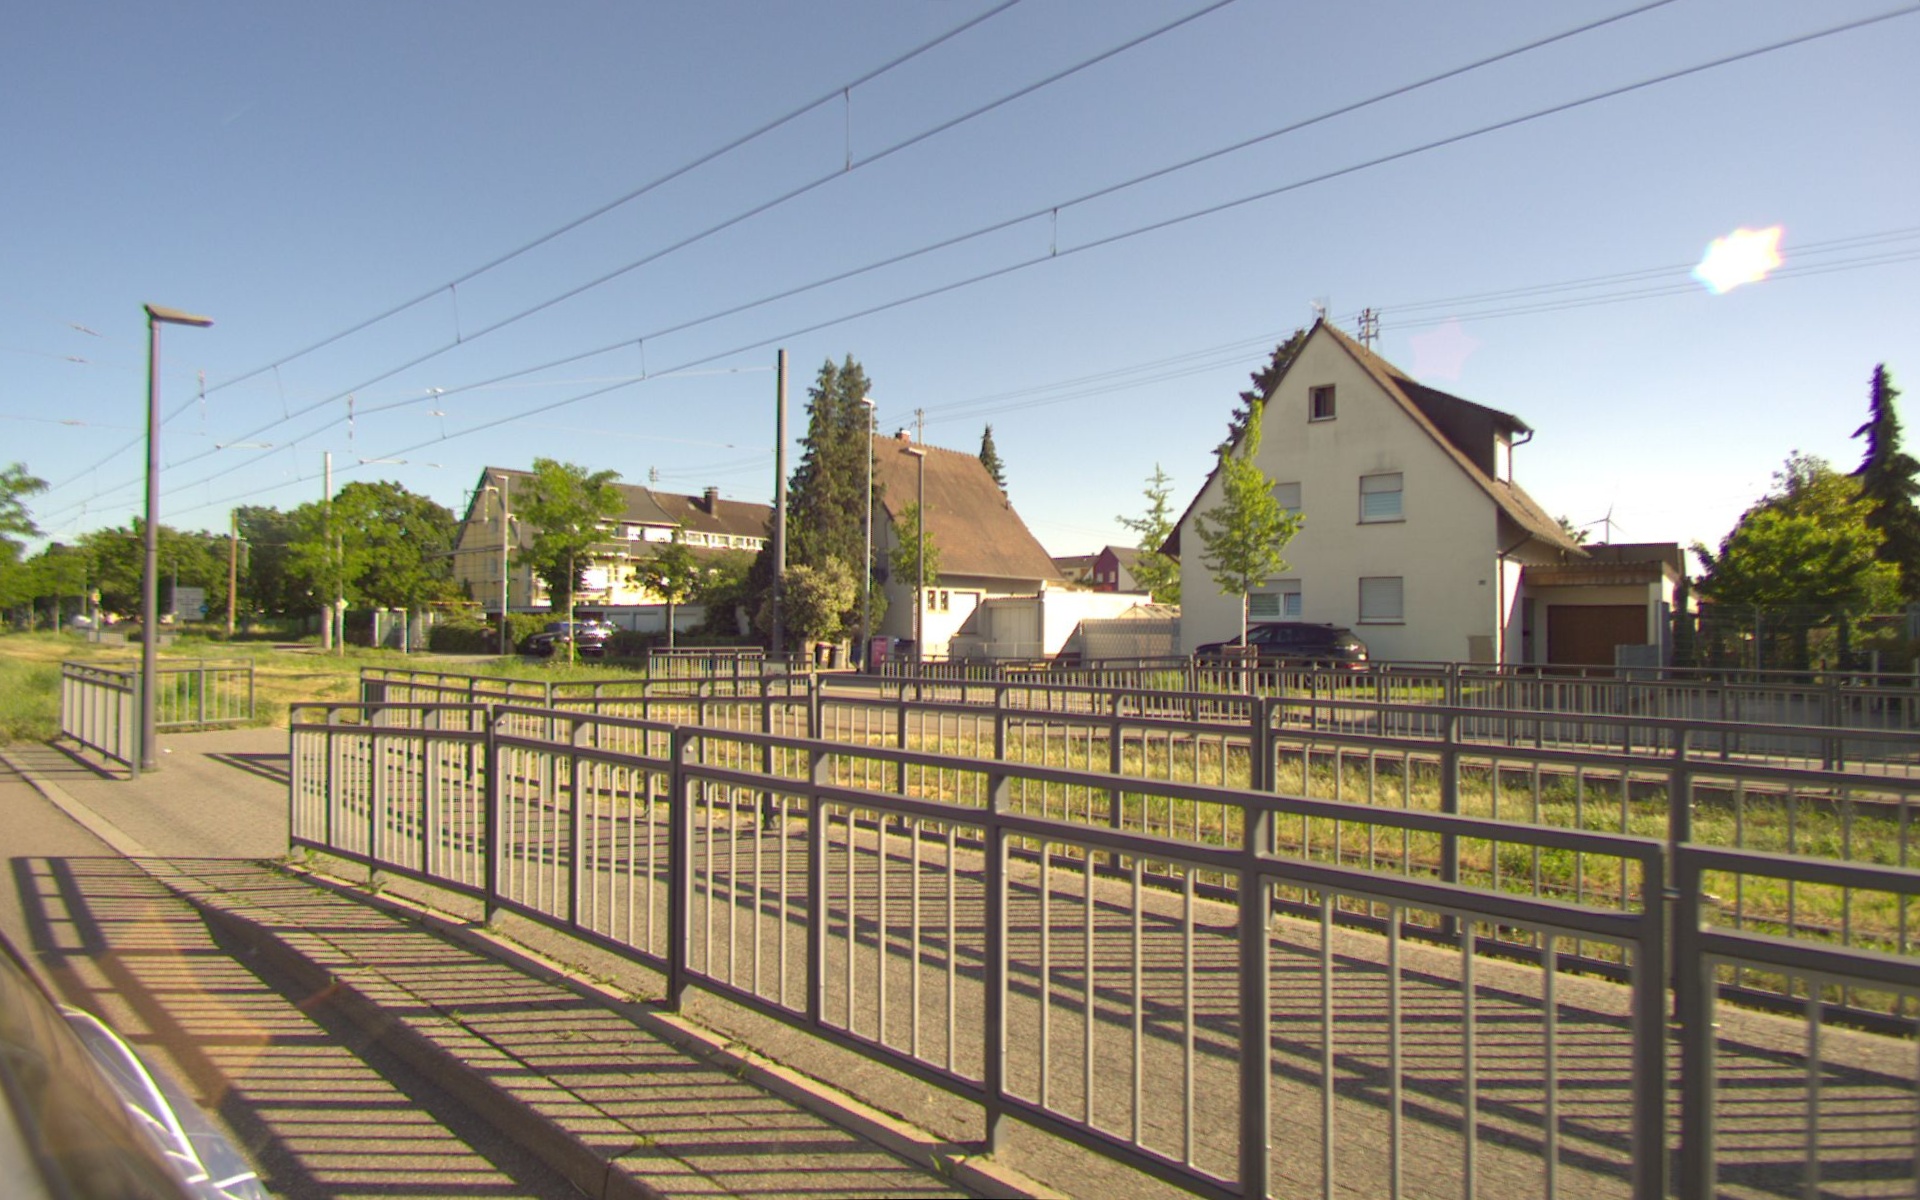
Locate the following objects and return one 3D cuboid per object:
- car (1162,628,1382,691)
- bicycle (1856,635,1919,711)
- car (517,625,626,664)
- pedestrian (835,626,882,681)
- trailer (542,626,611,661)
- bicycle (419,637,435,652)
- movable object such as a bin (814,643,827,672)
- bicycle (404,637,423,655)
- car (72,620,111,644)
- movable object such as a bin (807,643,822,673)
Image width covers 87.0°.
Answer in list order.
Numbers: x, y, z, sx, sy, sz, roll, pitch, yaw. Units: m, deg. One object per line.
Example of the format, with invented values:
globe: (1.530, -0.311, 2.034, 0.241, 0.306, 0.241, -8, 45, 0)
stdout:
car: (7.970, 1.459, 26.206, 5.160, 1.461, 1.914, -1, -2, 41)
bicycle: (17.888, 1.359, 19.459, 0.703, 1.376, 1.972, -1, -2, 34)
car: (-18.286, 2.065, 47.829, 2.044, 1.748, 4.509, -1, -2, 29)
pedestrian: (-3.094, 1.613, 30.915, 1.085, 1.653, 0.955, -1, -2, 41)
trailer: (-19.024, 2.123, 50.209, 1.397, 1.660, 2.885, -1, -2, 38)
bicycle: (-31.021, 2.597, 58.898, 1.508, 0.827, 0.307, 0, 0, 41)
movable object such as a bin: (-4.800, 1.996, 34.935, 0.333, 0.973, 0.295, -1, 0, 37)
bicycle: (-31.460, 2.629, 58.250, 1.748, 0.949, 0.419, 0, 0, 41)
car: (-70.558, 2.582, 82.189, 4.701, 1.929, 1.877, -1, -2, 43)
movable object such as a bin: (-4.985, 1.983, 34.674, 0.350, 0.977, 0.323, -1, 0, 37)
